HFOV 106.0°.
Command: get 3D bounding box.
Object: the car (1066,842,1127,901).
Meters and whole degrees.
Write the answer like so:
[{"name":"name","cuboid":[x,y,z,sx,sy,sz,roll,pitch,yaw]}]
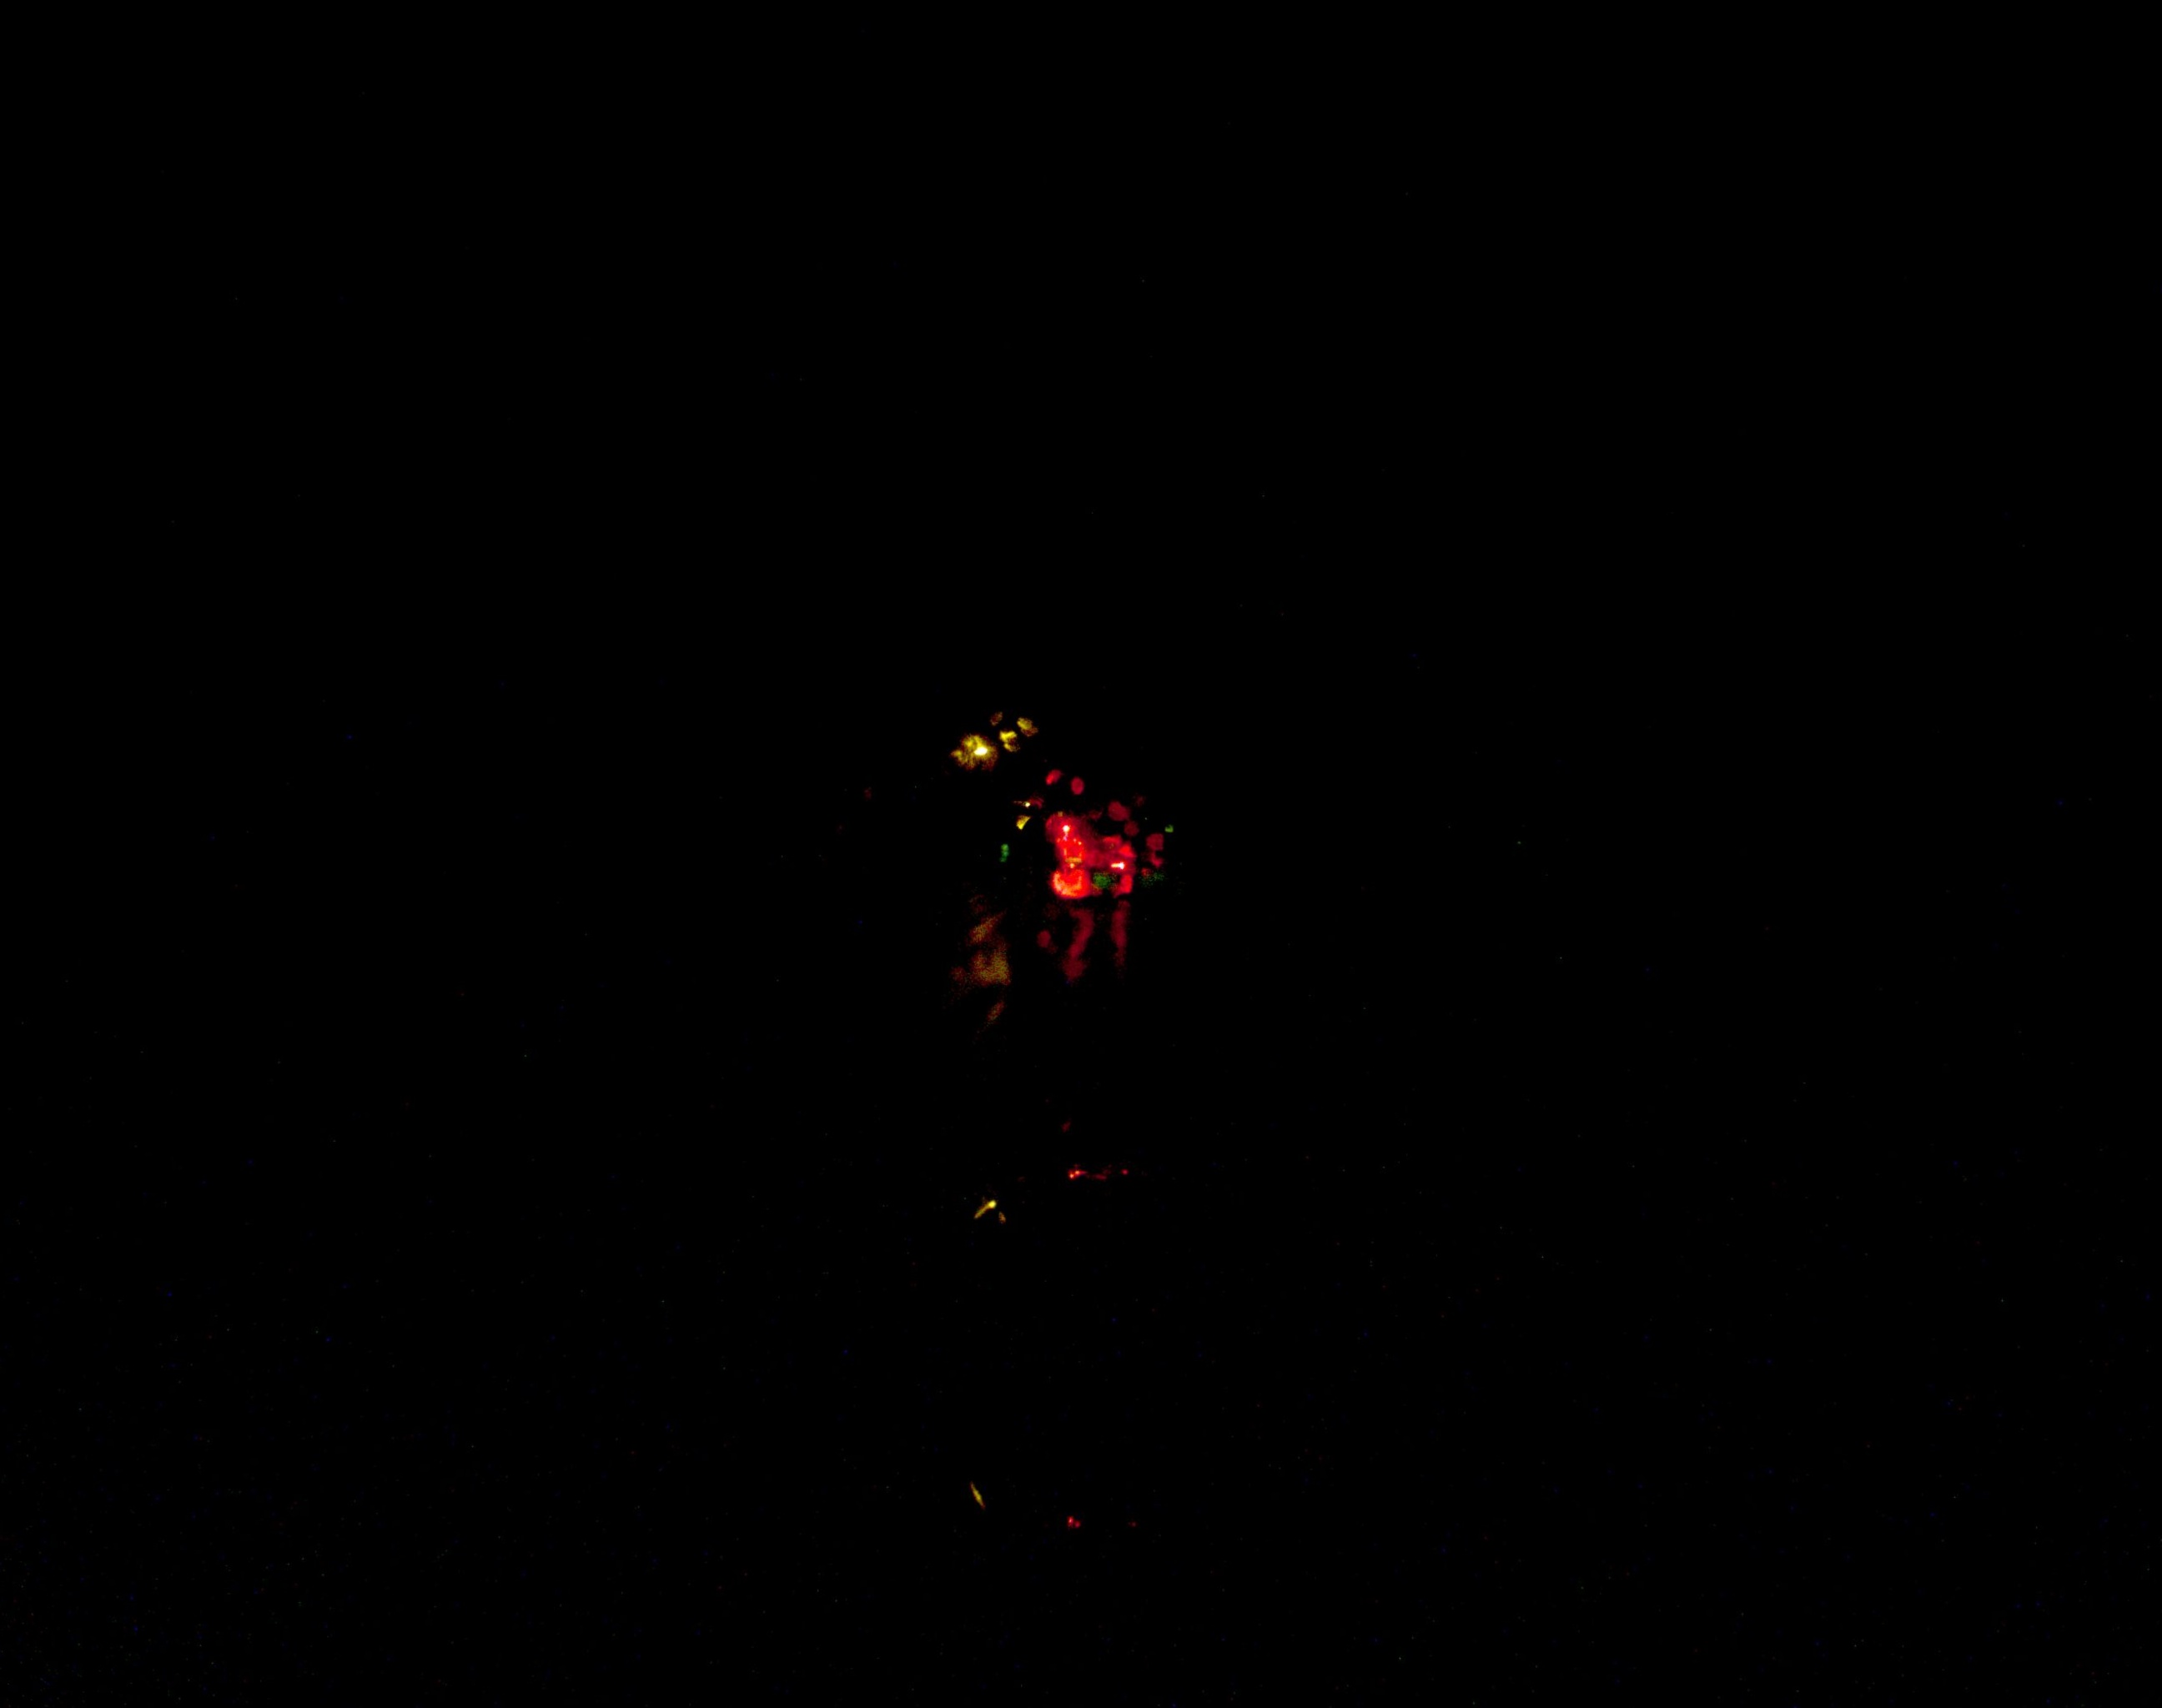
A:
[{"name":"car","cuboid":[0.497,0.481,26.031,1.785,1.681,3.905,0,1,1]}]
